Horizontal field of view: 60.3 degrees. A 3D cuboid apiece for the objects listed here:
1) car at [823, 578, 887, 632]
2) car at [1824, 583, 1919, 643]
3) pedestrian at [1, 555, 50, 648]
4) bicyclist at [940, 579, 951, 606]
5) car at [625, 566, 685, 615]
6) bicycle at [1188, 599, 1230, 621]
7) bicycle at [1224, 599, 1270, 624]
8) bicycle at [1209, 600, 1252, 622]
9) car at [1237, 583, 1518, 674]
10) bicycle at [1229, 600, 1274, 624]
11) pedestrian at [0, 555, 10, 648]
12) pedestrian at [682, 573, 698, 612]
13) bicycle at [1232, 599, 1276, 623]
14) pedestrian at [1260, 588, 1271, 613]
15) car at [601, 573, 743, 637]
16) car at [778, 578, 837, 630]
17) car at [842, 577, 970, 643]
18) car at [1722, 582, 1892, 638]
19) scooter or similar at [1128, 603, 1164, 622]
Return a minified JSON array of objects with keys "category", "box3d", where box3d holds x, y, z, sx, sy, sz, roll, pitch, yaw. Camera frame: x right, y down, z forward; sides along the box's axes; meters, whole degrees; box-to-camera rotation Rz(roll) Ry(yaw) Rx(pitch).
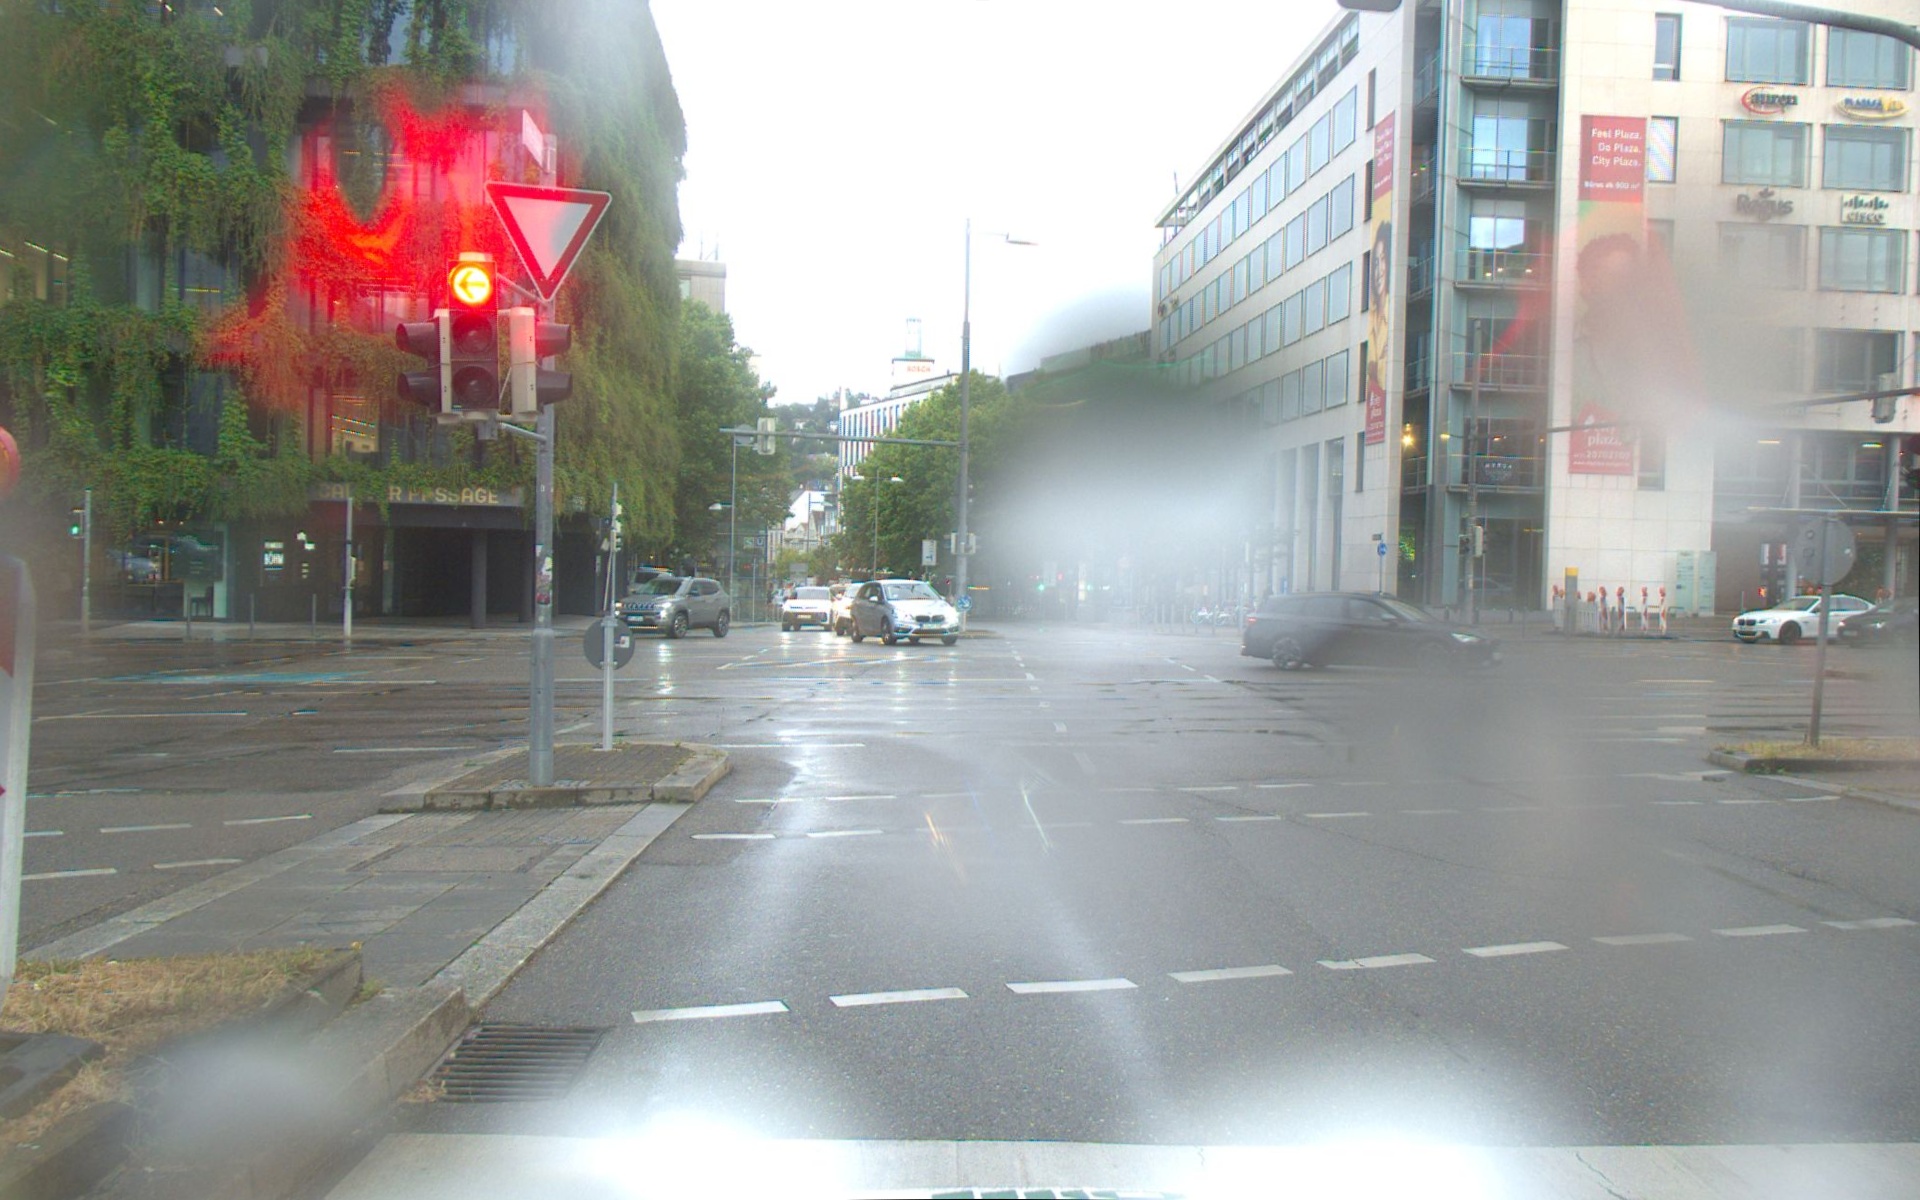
[{"category":"car","box3d":[-3.310,0.119,52.305,1.954,1.556,4.553,0,2,-4]},{"category":"car","box3d":[26.787,0.351,46.323,4.373,1.626,1.994,1,0,-13]},{"category":"pedestrian","box3d":[-18.390,0.028,32.574,0.731,1.788,0.969,0,0,-24]},{"category":"bicyclist","box3d":[-1.111,-0.571,123.181,0.775,2.009,1.114,1,0,-1]},{"category":"car","box3d":[-12.520,-0.382,68.108,1.955,1.928,4.460,1,0,-5]},{"category":"bicycle","box3d":[10.969,0.457,72.900,1.757,0.950,0.475,1,0,2]},{"category":"bicycle","box3d":[11.155,0.437,64.374,1.767,0.950,0.473,1,0,41]},{"category":"bicycle","box3d":[11.613,0.464,71.062,1.757,0.950,0.475,1,0,2]},{"category":"car","box3d":[7.408,0.452,29.548,4.525,1.473,1.856,1,1,34]},{"category":"bicycle","box3d":[11.754,0.476,66.736,1.767,0.950,0.473,1,0,41]},{"category":"pedestrian","box3d":[-19.172,0.020,32.303,0.923,1.788,1.163,0,0,-24]},{"category":"pedestrian","box3d":[-10.950,-0.315,67.011,0.595,1.550,0.587,1,0,-5]},{"category":"bicycle","box3d":[11.729,0.438,65.990,1.767,0.950,0.473,1,0,41]},{"category":"pedestrian","box3d":[14.324,0.023,77.494,0.407,1.194,0.352,0,0,42]},{"category":"car","box3d":[-7.746,0.126,44.932,1.952,1.626,4.467,1,0,18]},{"category":"car","box3d":[-5.782,0.122,62.251,2.133,1.855,4.637,1,0,-7]},{"category":"car","box3d":[-1.405,0.195,40.915,1.963,1.468,4.532,0,2,-19]},{"category":"car","box3d":[25.373,0.293,49.575,4.378,1.626,1.992,0,0,-16]},{"category":"scooter or similar","box3d":[8.986,0.593,79.900,1.720,0.894,0.486,0,0,-20]}]
